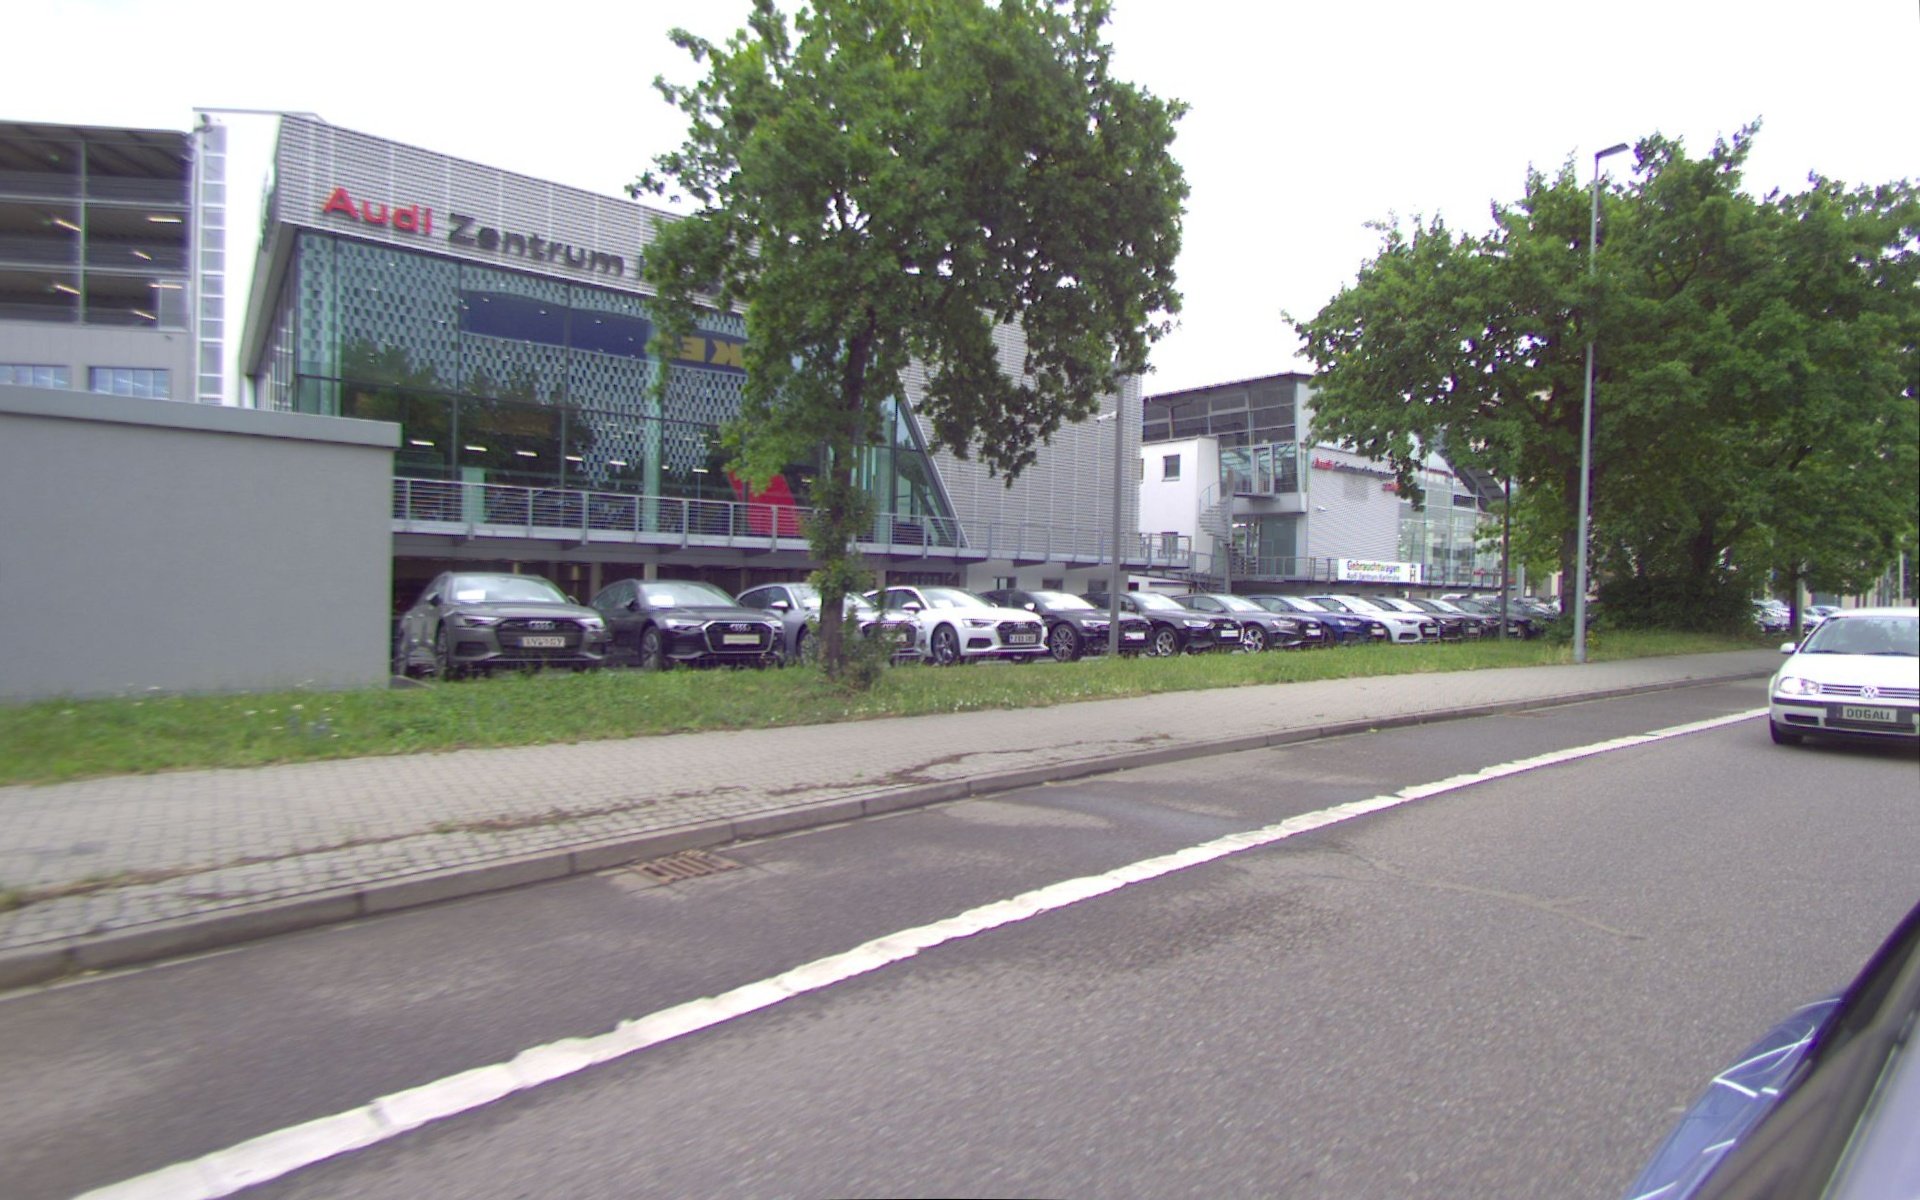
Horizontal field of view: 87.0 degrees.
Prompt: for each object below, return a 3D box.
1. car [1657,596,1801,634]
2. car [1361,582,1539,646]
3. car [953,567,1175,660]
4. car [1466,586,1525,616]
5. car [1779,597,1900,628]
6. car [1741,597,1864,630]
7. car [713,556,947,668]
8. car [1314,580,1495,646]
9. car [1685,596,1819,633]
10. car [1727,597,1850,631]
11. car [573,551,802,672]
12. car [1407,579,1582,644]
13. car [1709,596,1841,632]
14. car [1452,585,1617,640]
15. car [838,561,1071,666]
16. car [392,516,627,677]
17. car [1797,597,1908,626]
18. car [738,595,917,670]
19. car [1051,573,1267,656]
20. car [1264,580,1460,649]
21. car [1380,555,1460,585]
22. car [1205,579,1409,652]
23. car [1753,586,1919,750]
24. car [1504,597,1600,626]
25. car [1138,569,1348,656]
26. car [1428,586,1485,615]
[{"bbox_3d":[31.640,0.634,41.728,1.859,1.489,4.376,1,-2,-37],"label":"car"},{"bbox_3d":[14.004,0.482,29.150,1.792,1.506,4.216,3,-6,-37],"label":"car"},{"bbox_3d":[1.875,0.366,19.476,1.962,1.489,4.186,3,-6,-35],"label":"car"},{"bbox_3d":[39.112,0.054,73.873,4.820,2.039,1.998,-2,2,-38],"label":"car"},{"bbox_3d":[46.217,0.674,53.270,2.032,1.505,4.512,-1,-1,-38],"label":"car"},{"bbox_3d":[40.199,0.650,48.375,1.818,1.505,4.196,1,-2,-36],"label":"car"},{"bbox_3d":[-2.260,0.298,16.511,1.991,1.525,4.304,1,-4,-36],"label":"car"},{"bbox_3d":[11.829,0.418,27.162,1.785,1.506,4.072,3,-5,-37],"label":"car"},{"bbox_3d":[33.936,0.645,43.454,1.873,1.505,4.187,1,-2,-37],"label":"car"},{"bbox_3d":[38.171,0.655,46.696,1.842,1.505,4.042,1,-2,-36],"label":"car"},{"bbox_3d":[-4.147,0.297,14.970,1.922,1.465,4.186,3,-6,-35],"label":"car"},{"bbox_3d":[16.068,0.422,30.626,1.841,1.624,4.245,3,-6,-37],"label":"car"},{"bbox_3d":[36.200,0.645,45.064,1.836,1.505,4.230,1,-2,-36],"label":"car"},{"bbox_3d":[18.165,0.443,32.156,1.836,1.412,4.131,3,-6,-37],"label":"car"},{"bbox_3d":[-0.252,0.356,18.045,1.962,1.541,4.403,3,-6,-36],"label":"car"},{"bbox_3d":[-6.163,0.133,13.520,1.962,1.725,4.561,3,-6,-35],"label":"car"},{"bbox_3d":[48.465,0.600,55.000,1.840,1.505,4.227,0,0,-36],"label":"car"},{"bbox_3d":[-3.219,0.808,24.887,3.925,1.683,1.898,3,-1,-37],"label":"car"},{"bbox_3d":[3.974,0.383,20.866,1.897,1.476,4.186,3,-5,-35],"label":"car"},{"bbox_3d":[10.058,0.432,25.590,1.922,1.506,4.205,3,-5,-37],"label":"car"},{"bbox_3d":[27.638,-1.774,60.870,1.792,1.683,3.997,3,-1,-38],"label":"car"},{"bbox_3d":[8.113,0.451,23.996,1.939,1.506,4.192,3,-5,-36],"label":"car"},{"bbox_3d":[10.175,0.661,10.710,3.929,1.496,1.838,2,0,-37],"label":"car"},{"bbox_3d":[33.534,0.683,57.415,1.892,1.505,4.260,3,-3,-36],"label":"car"},{"bbox_3d":[6.180,0.379,22.539,1.962,1.685,4.186,3,-5,-35],"label":"car"},{"bbox_3d":[37.384,0.017,76.125,4.820,2.039,1.998,-2,2,-38],"label":"car"}]
